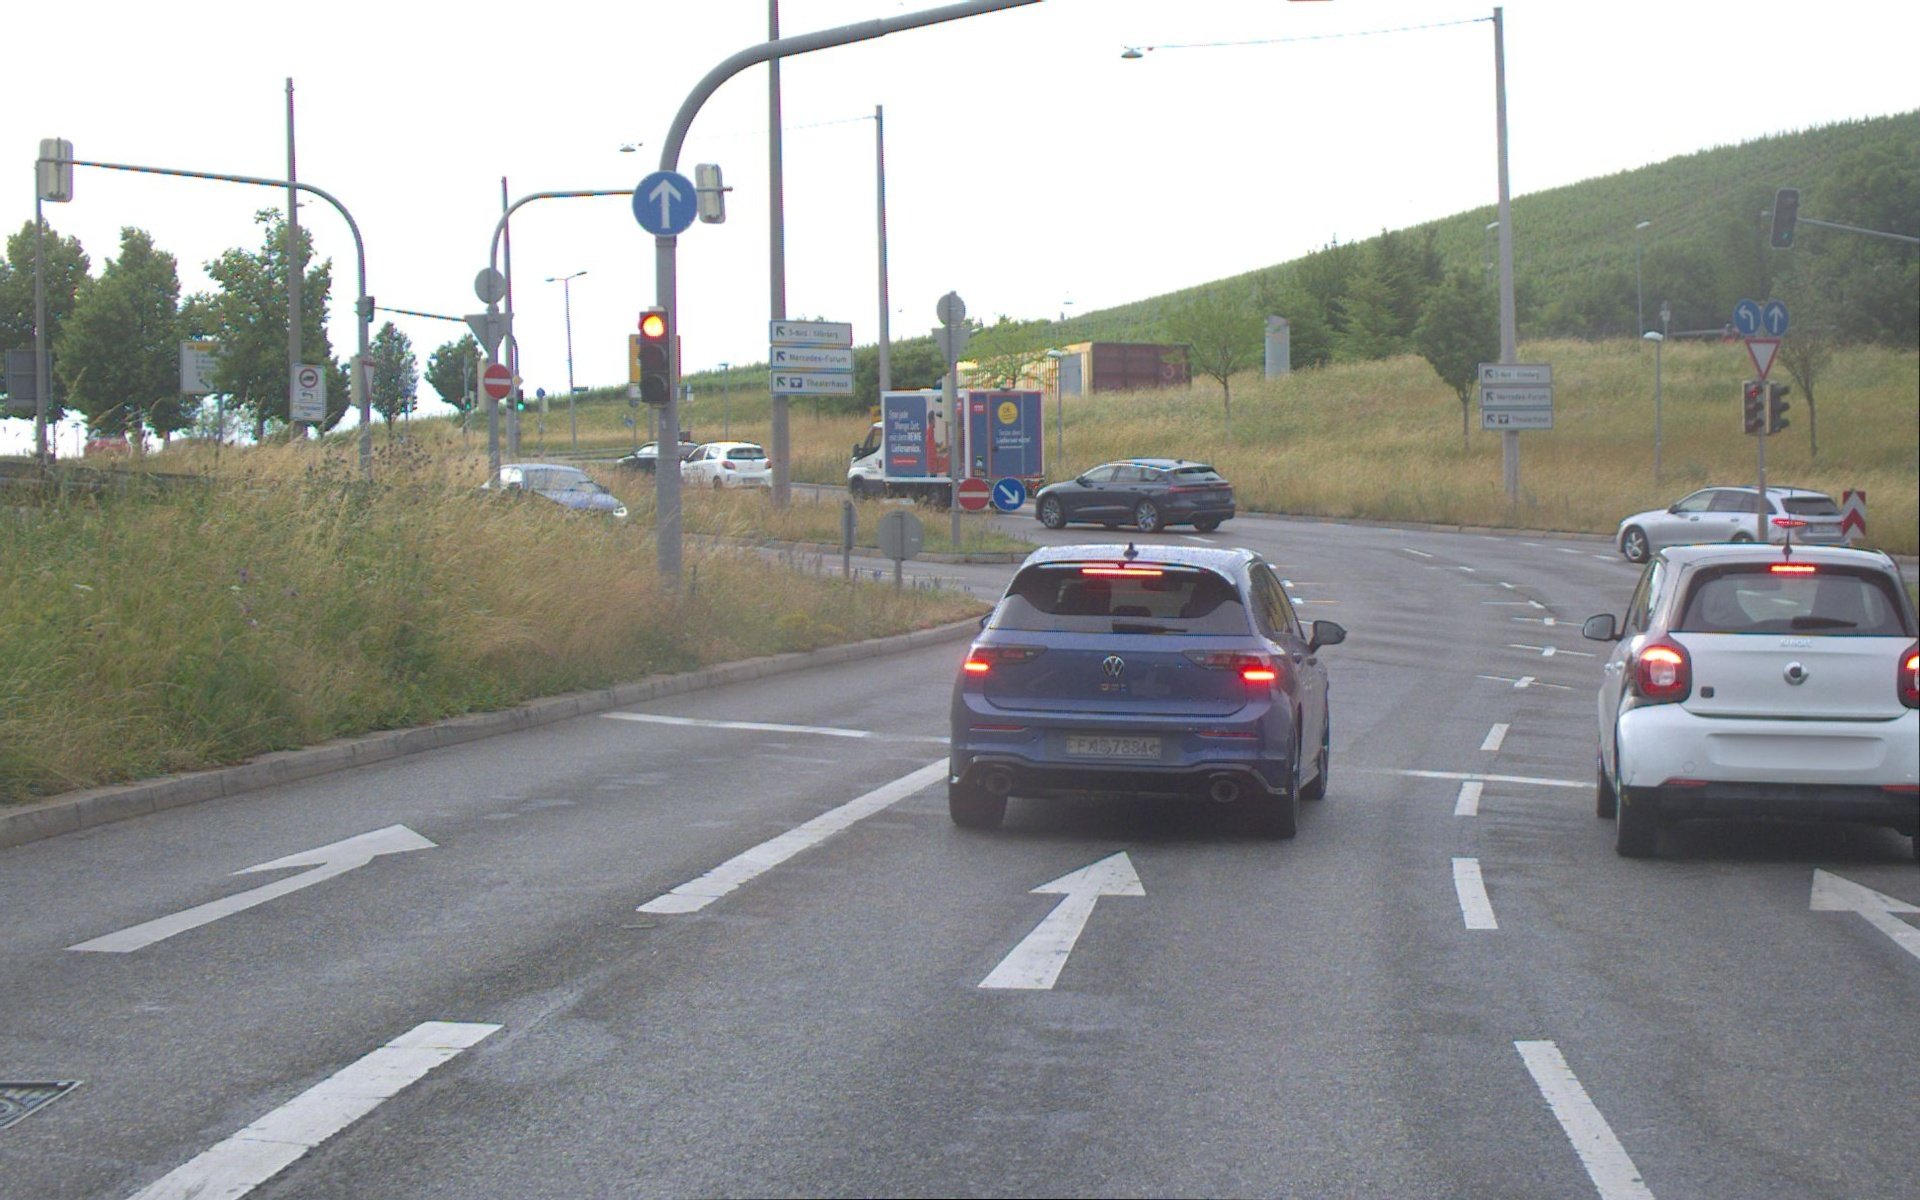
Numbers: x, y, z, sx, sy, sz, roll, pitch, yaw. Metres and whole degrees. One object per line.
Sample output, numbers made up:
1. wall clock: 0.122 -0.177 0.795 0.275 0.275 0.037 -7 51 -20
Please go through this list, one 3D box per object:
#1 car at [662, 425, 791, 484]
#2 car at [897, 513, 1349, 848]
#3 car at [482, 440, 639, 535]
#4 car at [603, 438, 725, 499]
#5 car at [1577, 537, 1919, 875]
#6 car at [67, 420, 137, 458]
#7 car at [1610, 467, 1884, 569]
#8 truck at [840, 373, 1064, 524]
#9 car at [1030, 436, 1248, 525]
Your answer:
1. car: -6.591 -4.116 96.723 1.993 1.495 4.565 -3 5 -27
2. car: 0.999 0.371 18.538 1.927 1.594 4.060 0 0 10
3. car: -7.386 -2.094 63.264 1.857 1.567 3.883 3 2 -21
4. car: -9.137 -4.075 105.877 1.993 1.705 4.564 -3 5 -30
5. car: 4.130 0.457 17.756 1.775 1.514 3.723 2 1 10
6. car: -40.546 -7.597 162.409 1.993 1.706 4.564 -3 3 -30
7. car: 13.680 -1.466 60.016 1.993 1.599 4.564 -1 4 -32
8. truck: -0.254 -3.787 84.409 2.848 3.514 6.236 -3 5 -28
9. car: 3.749 -2.545 72.608 1.994 1.705 4.562 -4 5 -40
